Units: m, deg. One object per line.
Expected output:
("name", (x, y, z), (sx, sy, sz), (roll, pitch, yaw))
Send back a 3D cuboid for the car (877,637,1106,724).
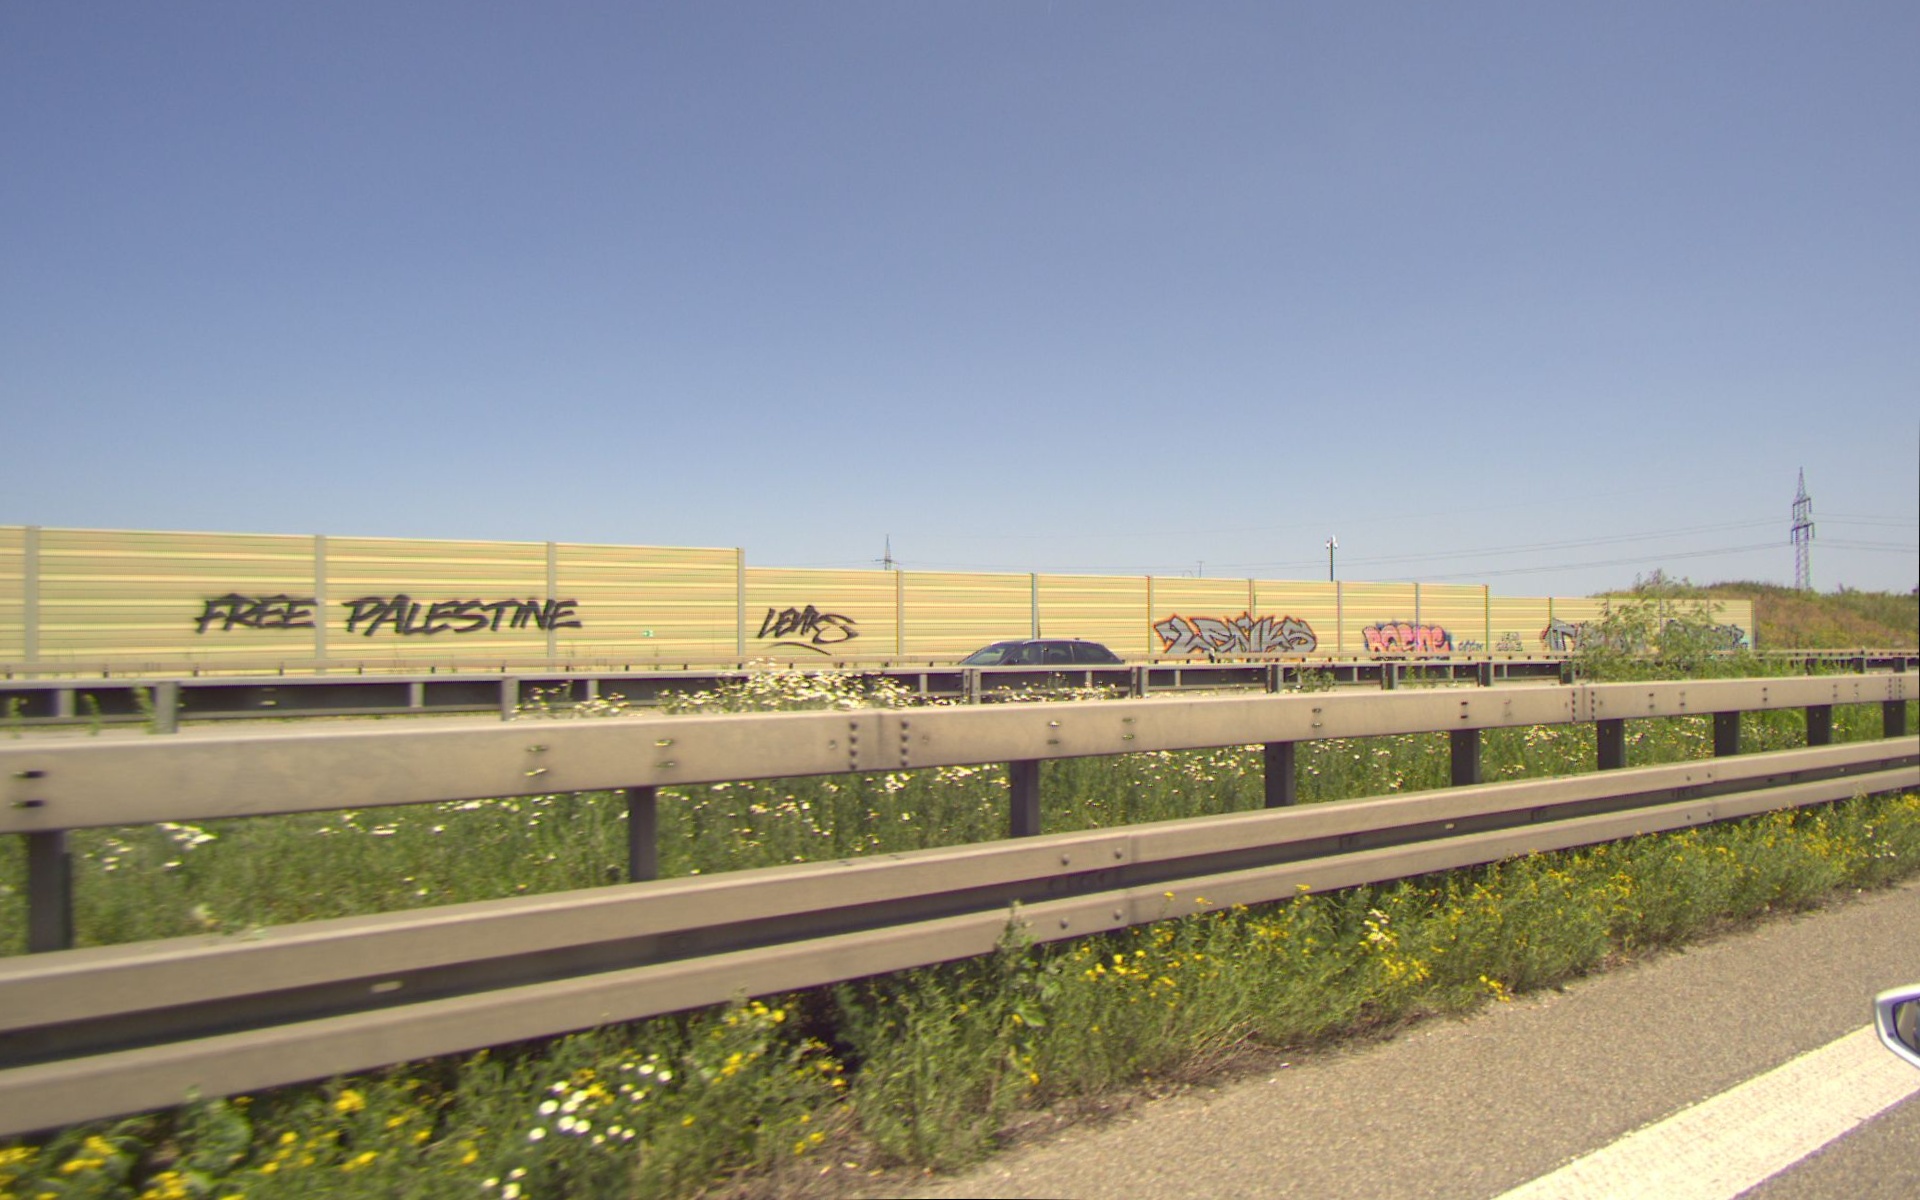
("car", (0.618, 1.469, 19.230), (3.953, 1.439, 1.984), (1, 0, -30))
